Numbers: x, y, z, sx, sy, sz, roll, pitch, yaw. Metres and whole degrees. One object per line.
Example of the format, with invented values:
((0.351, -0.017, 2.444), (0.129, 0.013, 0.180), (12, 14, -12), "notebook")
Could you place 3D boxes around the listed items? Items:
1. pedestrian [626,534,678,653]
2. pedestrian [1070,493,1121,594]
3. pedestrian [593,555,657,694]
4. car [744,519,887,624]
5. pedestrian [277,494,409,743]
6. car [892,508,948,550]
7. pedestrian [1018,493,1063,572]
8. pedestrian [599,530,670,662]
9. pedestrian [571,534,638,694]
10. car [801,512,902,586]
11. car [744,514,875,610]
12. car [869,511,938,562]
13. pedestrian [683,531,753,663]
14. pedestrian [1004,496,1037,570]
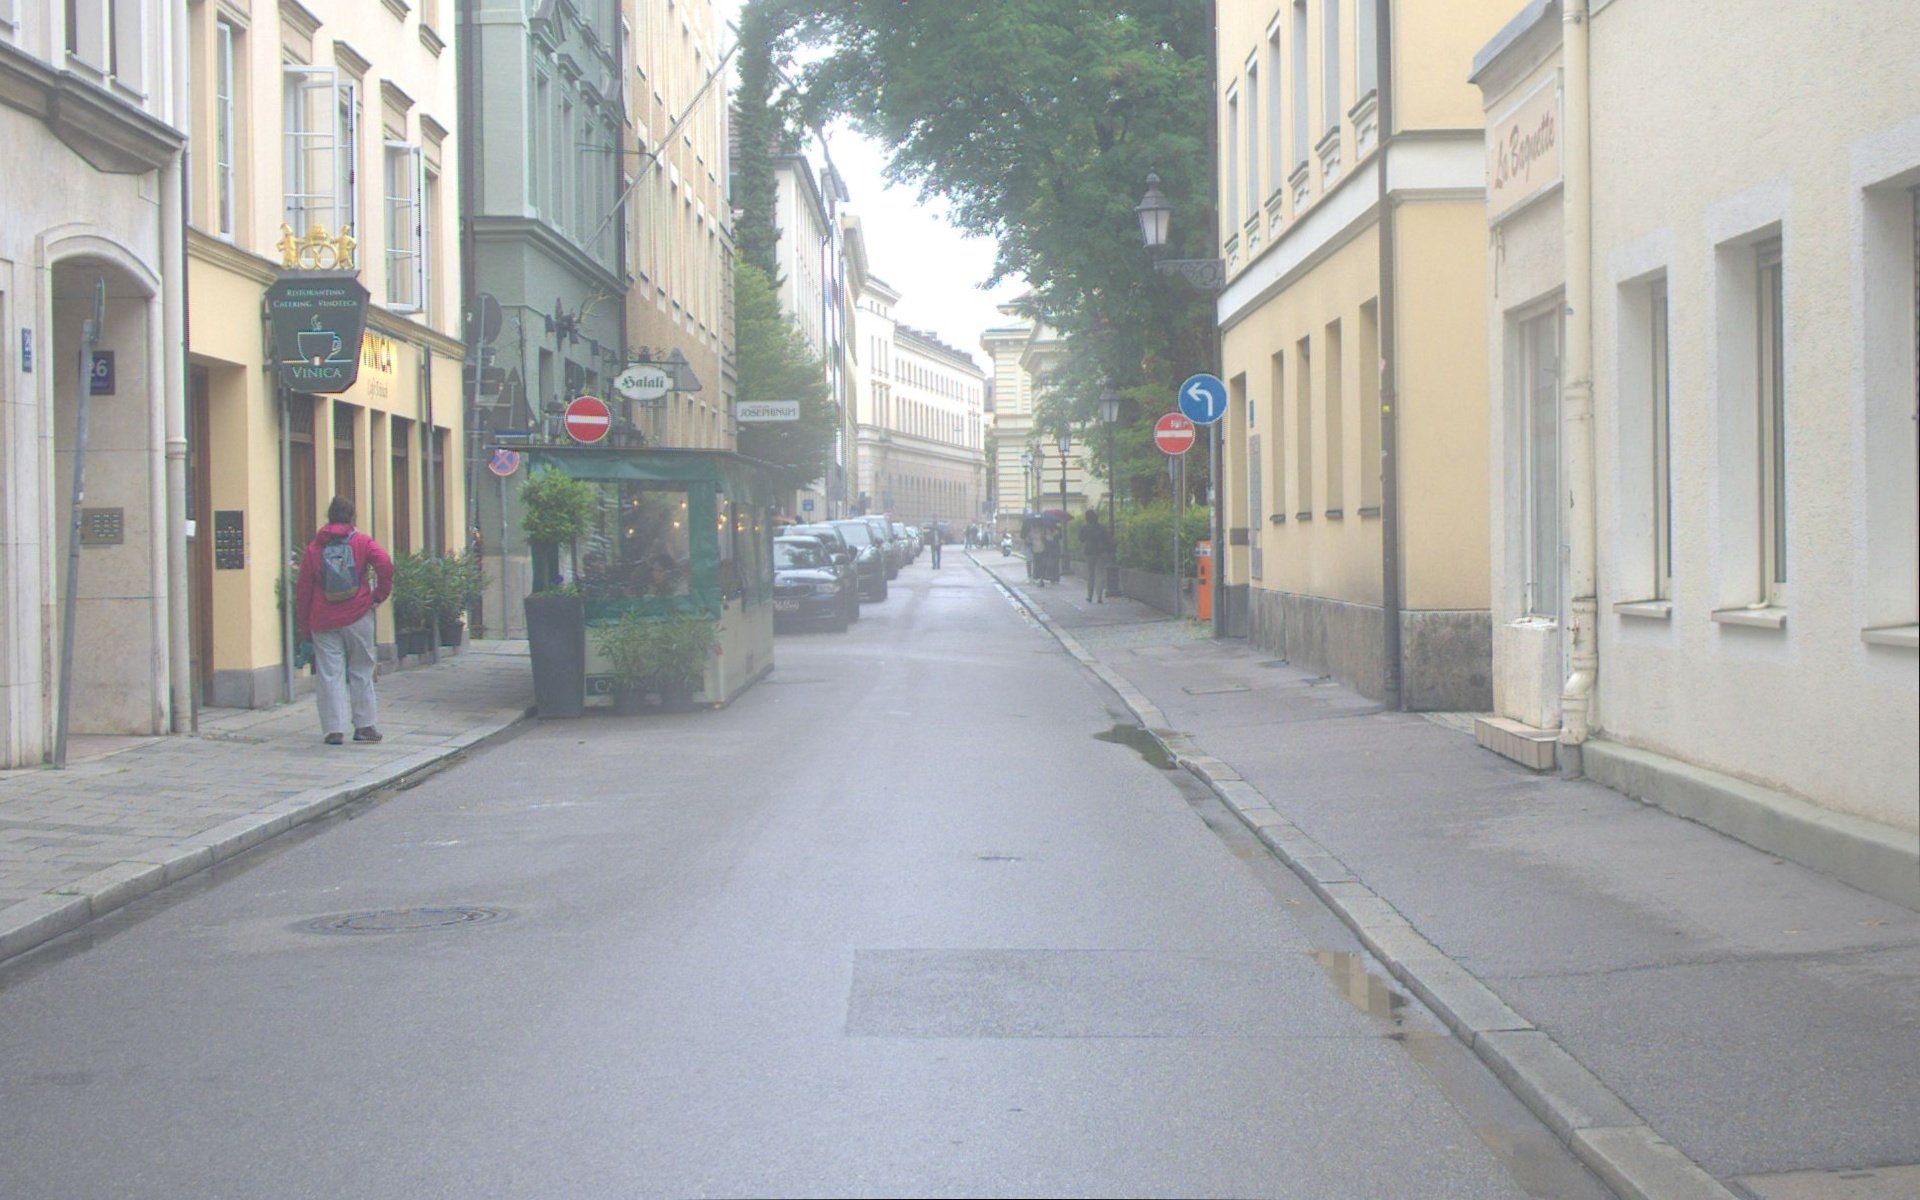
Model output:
((-3.233, -0.074, 36.072), (0.509, 1.233, 0.631), (0, 1, -2), "pedestrian")
((2.446, -1.025, 62.112), (0.880, 1.796, 1.046), (0, 1, 1), "pedestrian")
((-2.898, 0.203, 29.756), (0.509, 1.183, 0.631), (0, 1, -2), "pedestrian")
((-2.075, -0.452, 50.301), (1.779, 1.461, 3.663), (0, 2, 3), "car")
((-4.305, 0.118, 24.033), (0.765, 1.702, 0.785), (-1, 1, -2), "pedestrian")
((-1.391, -2.518, 121.386), (1.779, 1.461, 3.542), (0, 2, 3), "car")
((1.843, -1.552, 78.776), (1.015, 1.796, 1.349), (0, 1, 1), "pedestrian")
((-3.310, -0.048, 35.022), (0.673, 1.322, 0.696), (0, 1, -2), "pedestrian")
((-2.970, 0.110, 28.759), (0.509, 1.322, 0.631), (0, 1, -2), "pedestrian")
((-2.172, -1.053, 69.887), (1.779, 1.461, 3.542), (0, 2, 3), "car")
((-2.366, -0.631, 54.935), (1.779, 1.461, 3.542), (0, 2, 3), "car")
((-1.630, -1.850, 99.605), (1.779, 1.461, 3.542), (0, 2, 3), "car")
((-2.453, -0.041, 34.901), (0.673, 1.322, 0.696), (0, 1, -2), "pedestrian")
((1.475, -1.632, 84.119), (0.793, 1.796, 0.903), (0, 1, 1), "pedestrian")
